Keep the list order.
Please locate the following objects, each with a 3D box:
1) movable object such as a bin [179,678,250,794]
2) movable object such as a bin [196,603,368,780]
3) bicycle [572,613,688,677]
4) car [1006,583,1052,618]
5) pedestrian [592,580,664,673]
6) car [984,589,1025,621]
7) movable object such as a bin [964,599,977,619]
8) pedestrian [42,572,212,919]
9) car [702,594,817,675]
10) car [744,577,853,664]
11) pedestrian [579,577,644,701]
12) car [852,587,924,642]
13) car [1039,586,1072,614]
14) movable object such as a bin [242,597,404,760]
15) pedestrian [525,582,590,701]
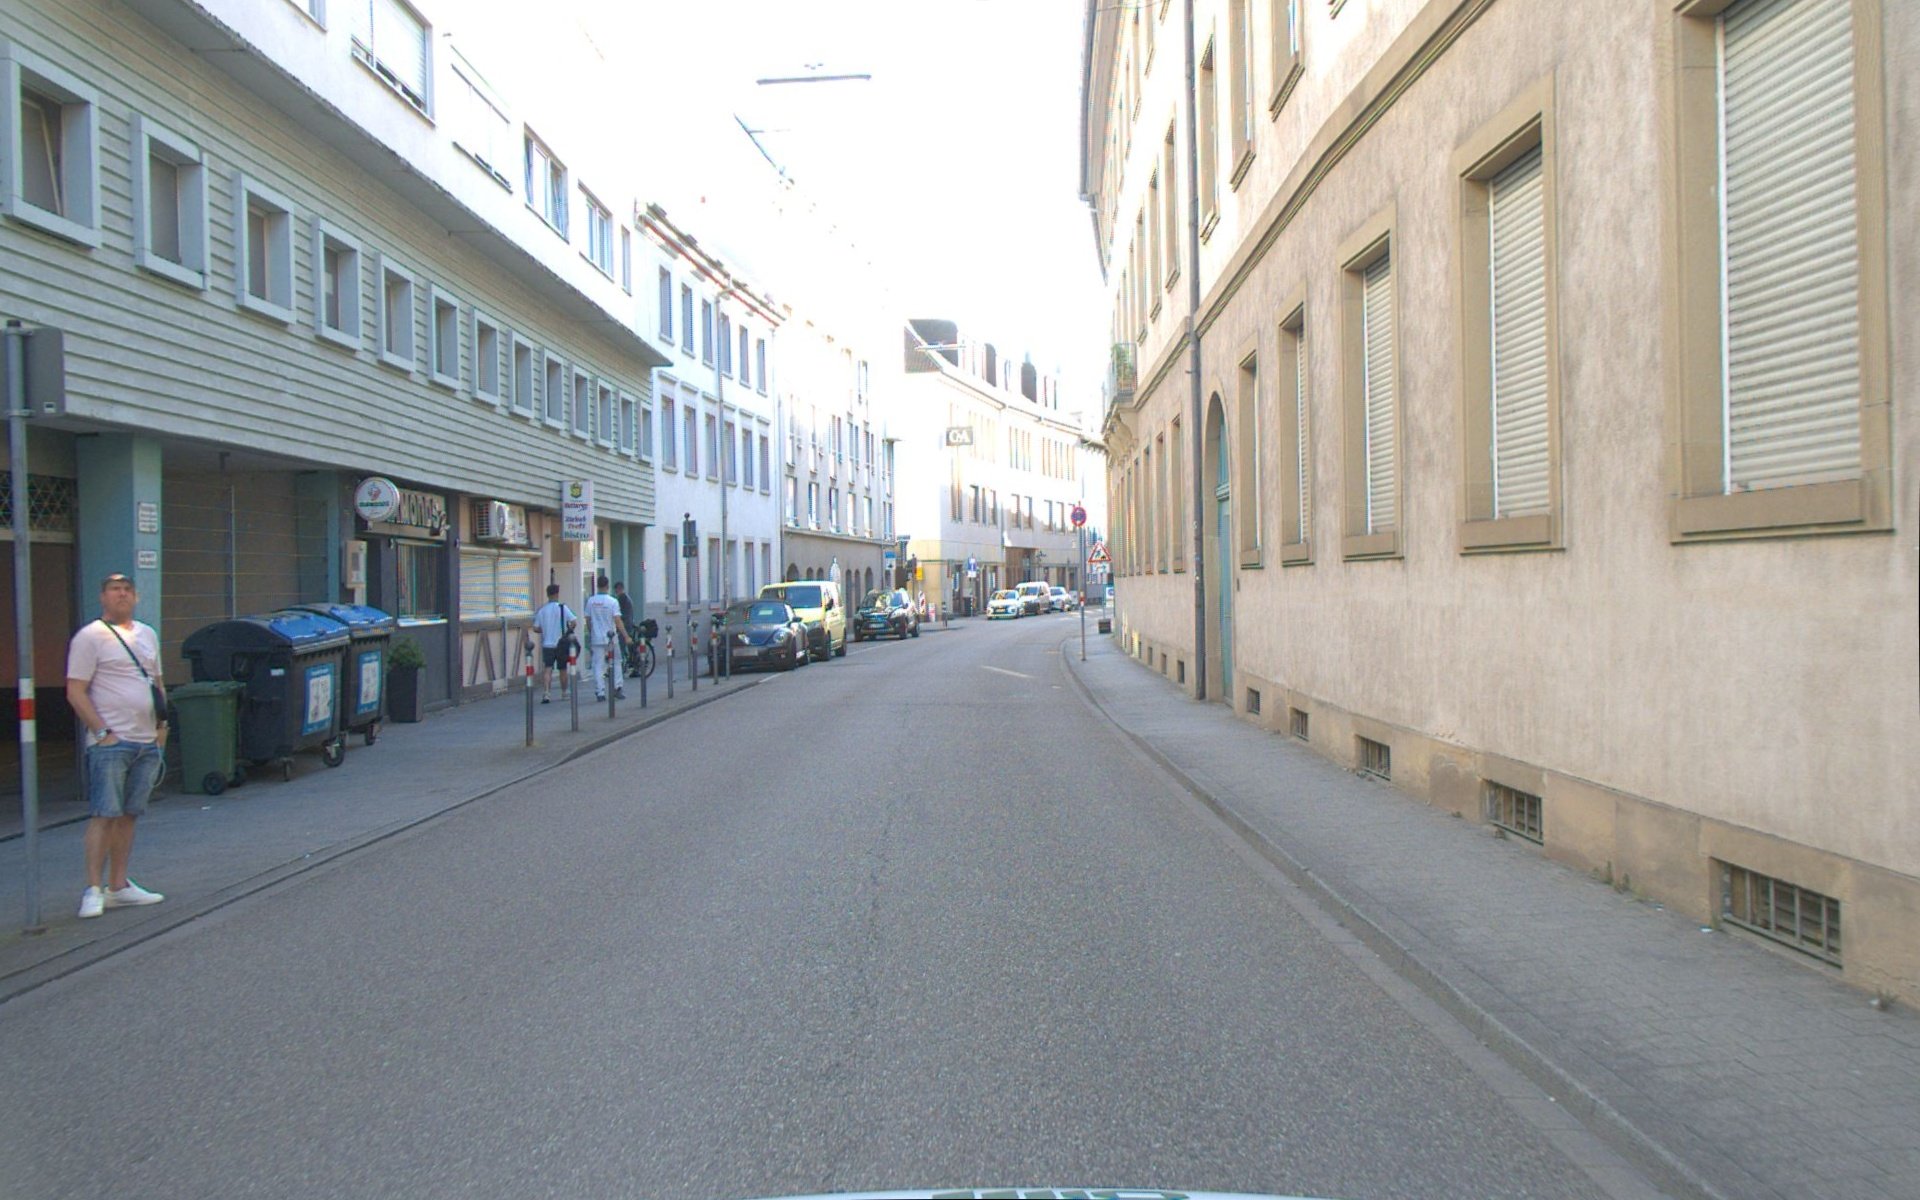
[{"bbox_3d":[-6.459,1.172,14.338,0.385,0.958,0.467,-1,0,0],"label":"movable object such as a bin"},{"bbox_3d":[-6.254,0.807,15.343,0.949,1.497,1.474,-1,2,0],"label":"movable object such as a bin"},{"bbox_3d":[-6.337,0.855,31.739,2.086,1.183,0.823,-1,0,24],"label":"bicycle"},{"bbox_3d":[3.905,-0.014,93.283,1.635,1.850,4.556,-2,0,14],"label":"car"},{"bbox_3d":[-6.372,0.508,31.752,1.056,1.759,0.801,-1,0,24],"label":"pedestrian"},{"bbox_3d":[2.378,0.251,87.580,1.635,1.533,3.797,-2,0,9],"label":"car"},{"bbox_3d":[0.562,0.477,89.025,0.596,1.079,0.714,1,0,6],"label":"movable object such as a bin"},{"bbox_3d":[-4.289,0.715,8.519,0.485,1.699,0.624,1,0,43],"label":"pedestrian"},{"bbox_3d":[-4.216,0.690,35.301,1.781,1.512,4.077,-4,0,1],"label":"car"},{"bbox_3d":[-3.898,0.465,40.714,1.841,1.899,4.866,-4,0,3],"label":"car"},{"bbox_3d":[-5.122,0.556,24.340,0.683,1.764,0.829,-2,0,2],"label":"pedestrian"},{"bbox_3d":[-2.442,0.464,57.260,1.703,1.740,4.194,-4,0,7],"label":"car"},{"bbox_3d":[5.750,-0.010,99.264,1.244,1.533,3.404,-2,0,15],"label":"car"},{"bbox_3d":[-6.486,0.772,16.918,1.099,1.547,1.342,-1,1,0],"label":"movable object such as a bin"},{"bbox_3d":[-5.889,0.595,24.215,0.658,1.699,0.895,-2,0,2],"label":"pedestrian"}]
